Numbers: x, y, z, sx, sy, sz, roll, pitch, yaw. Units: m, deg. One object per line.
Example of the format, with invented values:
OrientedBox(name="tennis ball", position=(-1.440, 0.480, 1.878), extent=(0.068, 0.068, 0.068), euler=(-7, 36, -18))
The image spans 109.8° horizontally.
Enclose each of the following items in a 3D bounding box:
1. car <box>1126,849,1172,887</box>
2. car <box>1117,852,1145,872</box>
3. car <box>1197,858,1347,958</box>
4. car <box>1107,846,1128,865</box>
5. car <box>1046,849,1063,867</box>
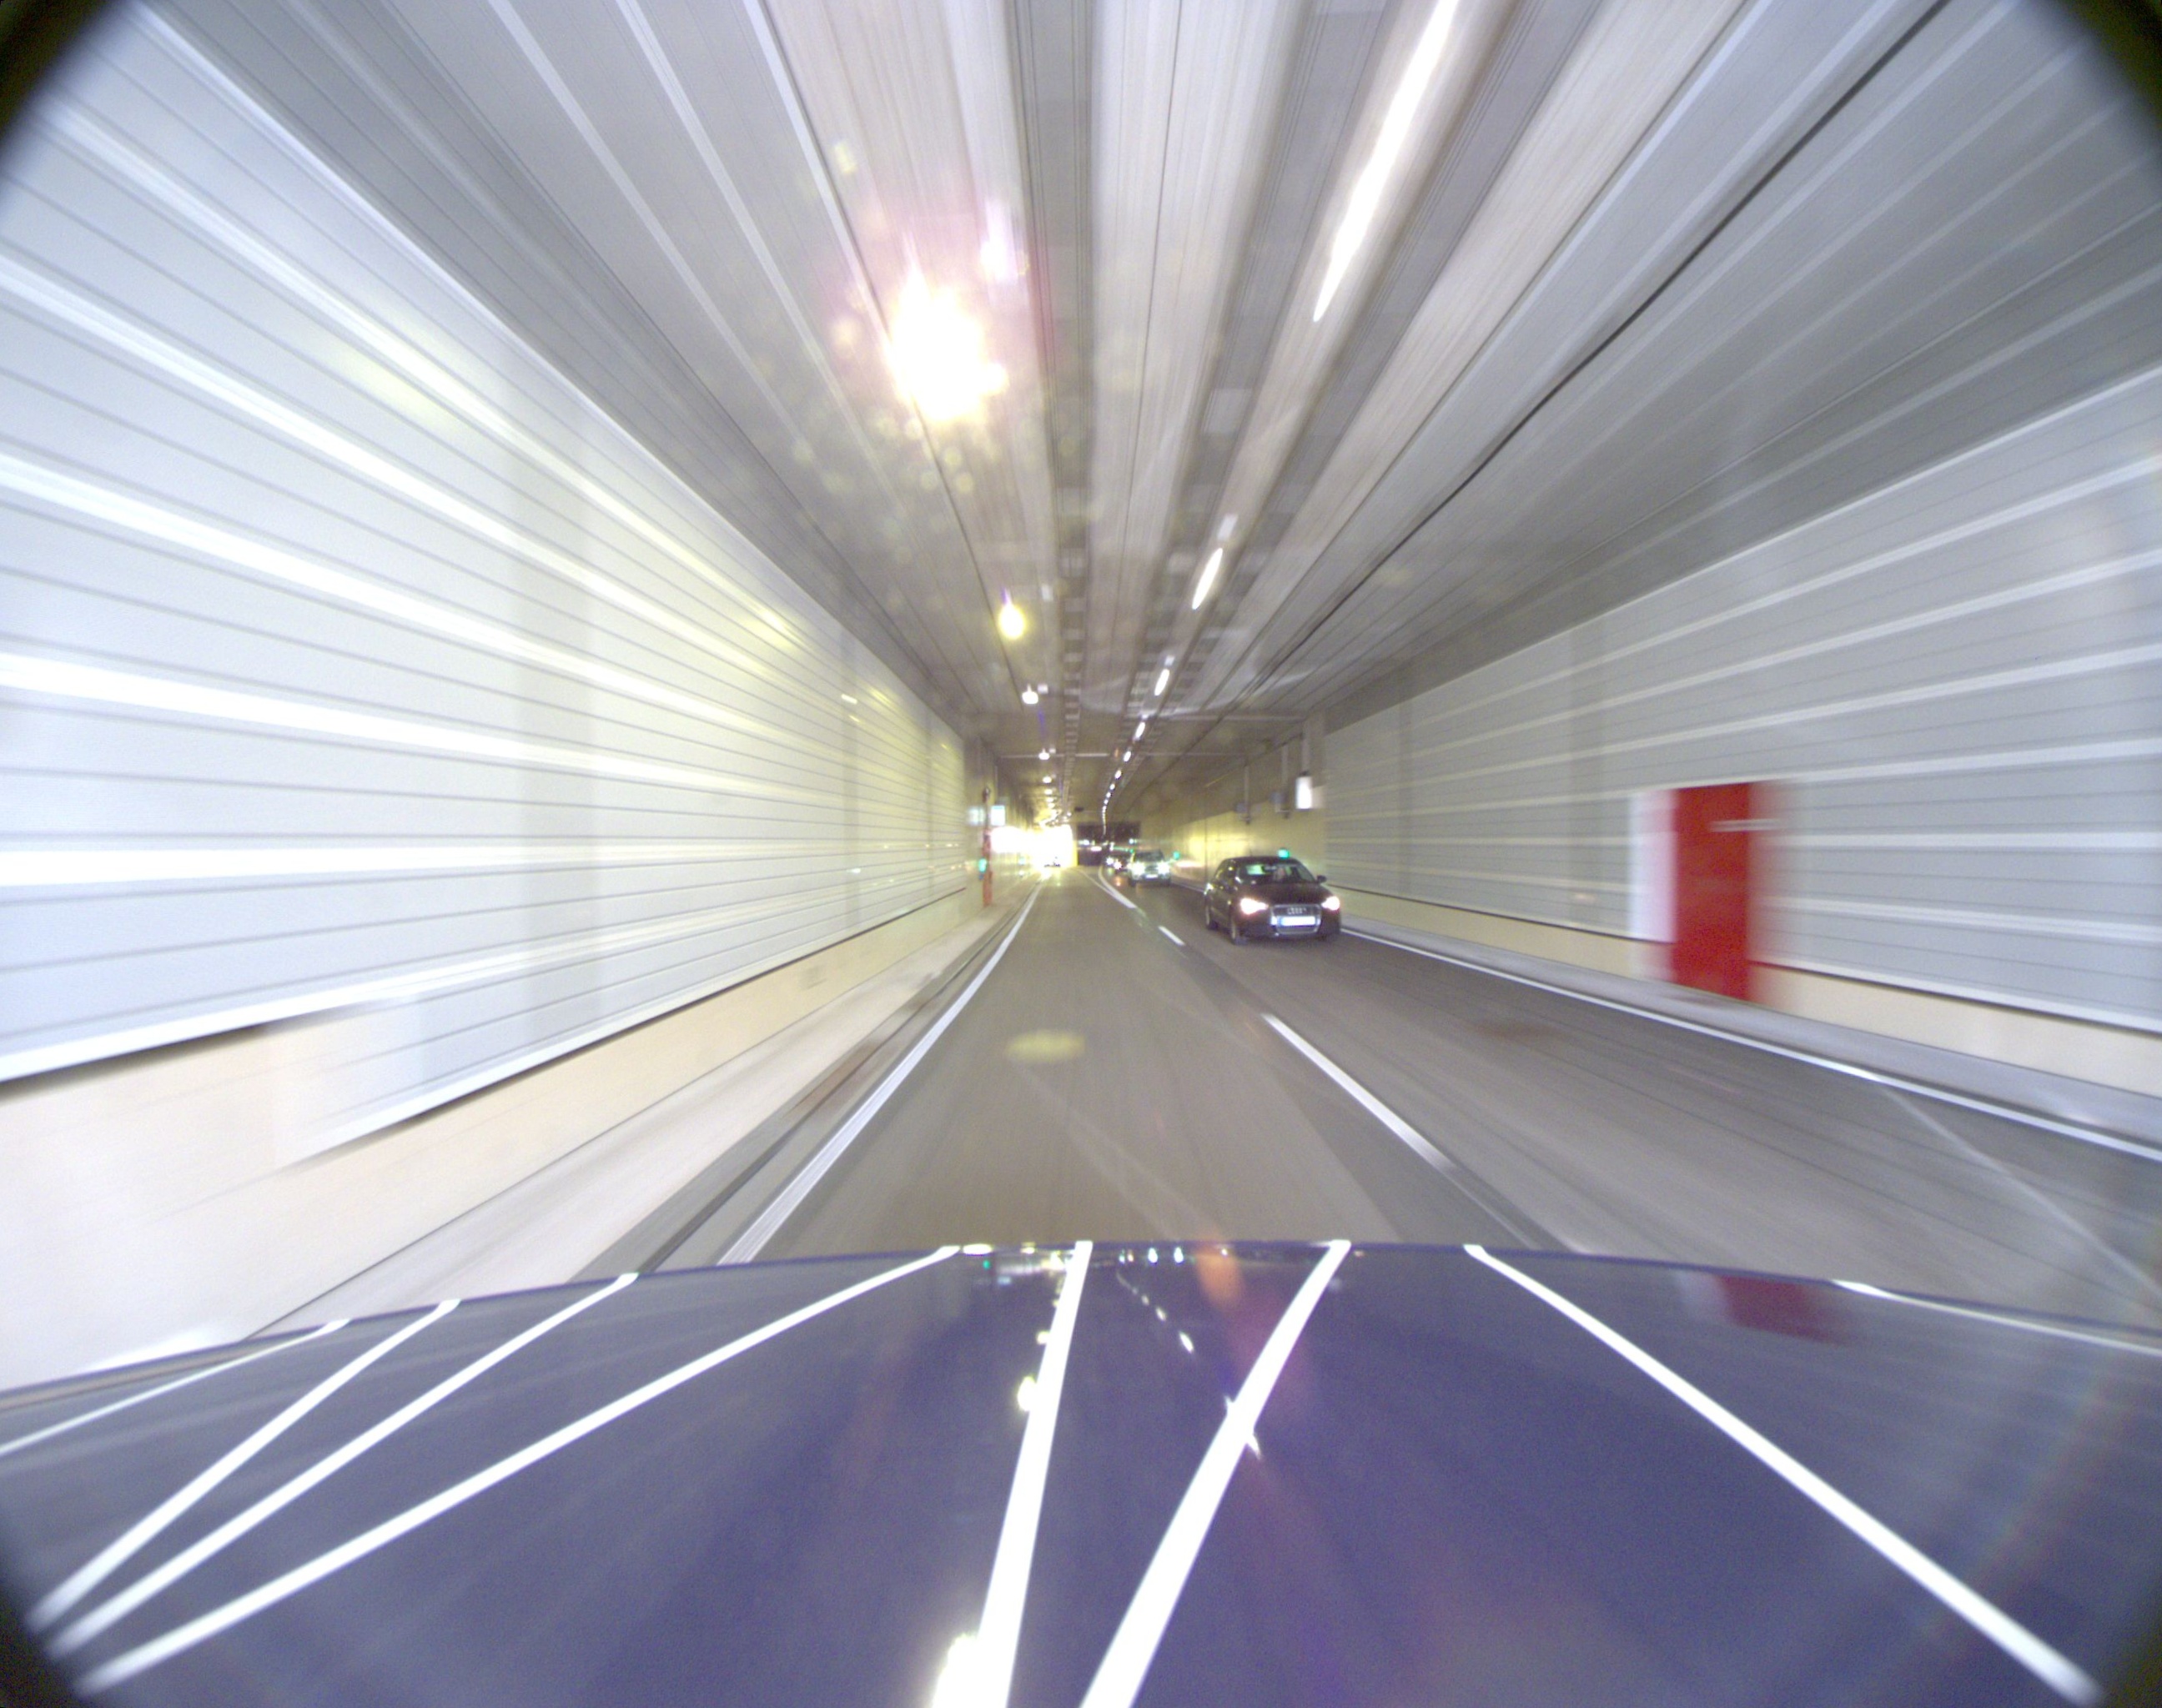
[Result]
OrientedBox(name="car", position=(3.114, 0.641, 35.307), extent=(1.854, 1.658, 3.971), euler=(-1, -1, 2))
OrientedBox(name="car", position=(3.798, 0.592, 58.258), extent=(1.998, 1.407, 4.001), euler=(-2, -1, 2))
OrientedBox(name="car", position=(3.196, 0.831, 13.453), extent=(1.699, 1.410, 3.888), euler=(-2, 0, 1))
OrientedBox(name="car", position=(3.979, 0.126, 83.019), extent=(1.998, 2.002, 3.999), euler=(-2, 1, 0))
OrientedBox(name="car", position=(-3.110, 0.438, 90.490), extent=(1.785, 2.002, 3.908), euler=(-2, 1, 1))
